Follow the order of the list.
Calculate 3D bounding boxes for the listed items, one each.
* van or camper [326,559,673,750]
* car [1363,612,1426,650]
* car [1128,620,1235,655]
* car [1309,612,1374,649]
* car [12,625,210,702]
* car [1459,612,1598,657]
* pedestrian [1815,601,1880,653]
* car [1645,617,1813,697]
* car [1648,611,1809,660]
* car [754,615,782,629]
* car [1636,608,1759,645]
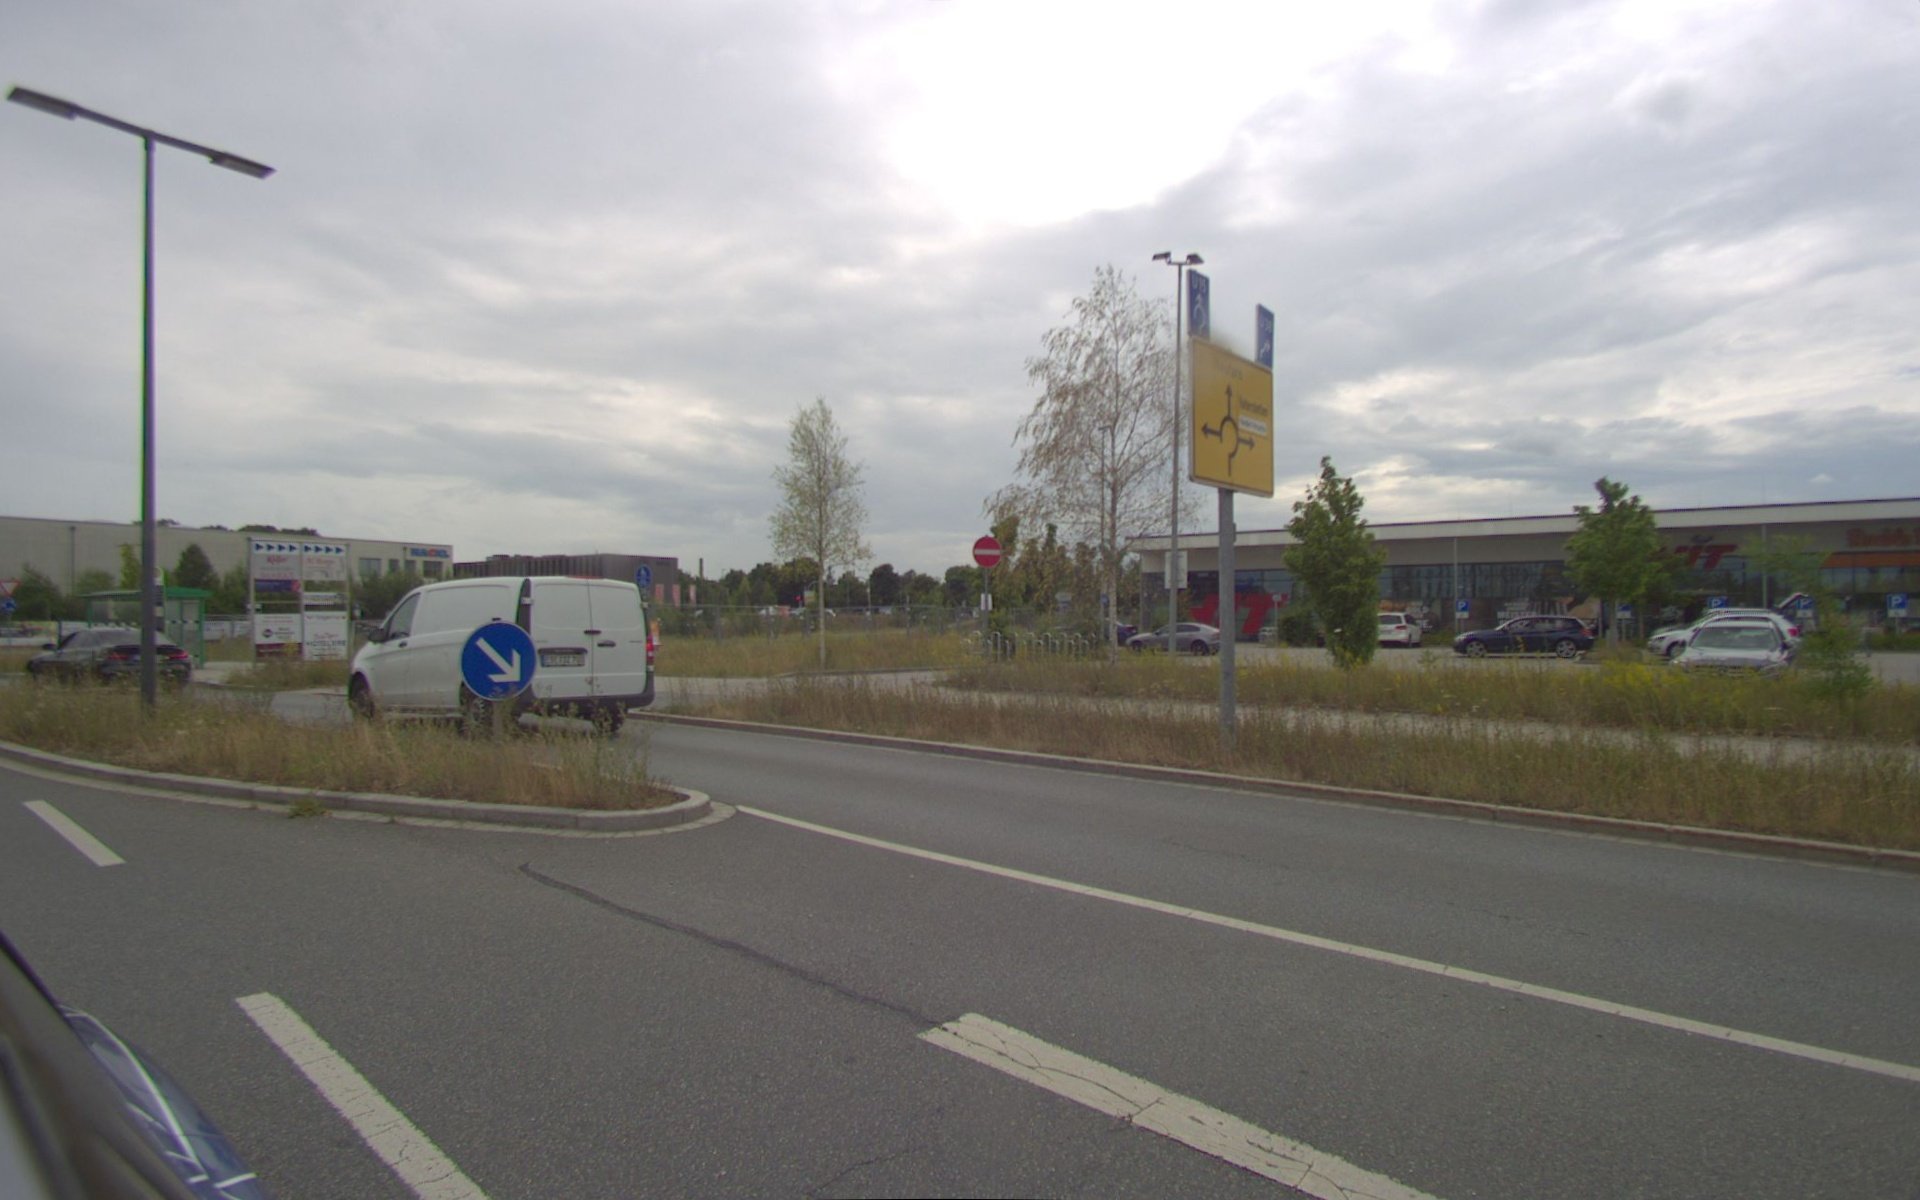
[{"bbox_3d":[-6.075,0.629,13.067,5.121,2.023,1.928,-1,-2,38],"label":"van or camper"},{"bbox_3d":[21.163,1.465,49.189,1.950,1.741,3.950,-1,-1,37],"label":"car"},{"bbox_3d":[9.650,1.607,44.215,4.184,1.463,1.811,-1,-1,34],"label":"car"},{"bbox_3d":[19.206,1.491,50.877,1.997,1.741,3.950,-1,-1,37],"label":"car"},{"bbox_3d":[-18.772,1.320,22.321,4.891,1.494,2.147,-1,-1,35],"label":"car"},{"bbox_3d":[19.465,1.168,34.772,4.048,1.453,1.831,-1,-1,30],"label":"car"},{"bbox_3d":[28.063,0.856,32.024,1.246,1.619,0.885,-1,-1,16],"label":"pedestrian"},{"bbox_3d":[15.425,1.043,20.204,2.143,1.377,4.515,-1,-1,44],"label":"car"},{"bbox_3d":[23.968,1.090,31.774,3.894,1.453,1.868,-1,-1,35],"label":"car"},{"bbox_3d":[-25.647,2.914,135.017,1.984,1.730,3.976,-1,0,18],"label":"car"},{"bbox_3d":[30.577,1.074,42.002,3.997,1.453,1.973,-1,-1,40],"label":"car"}]
